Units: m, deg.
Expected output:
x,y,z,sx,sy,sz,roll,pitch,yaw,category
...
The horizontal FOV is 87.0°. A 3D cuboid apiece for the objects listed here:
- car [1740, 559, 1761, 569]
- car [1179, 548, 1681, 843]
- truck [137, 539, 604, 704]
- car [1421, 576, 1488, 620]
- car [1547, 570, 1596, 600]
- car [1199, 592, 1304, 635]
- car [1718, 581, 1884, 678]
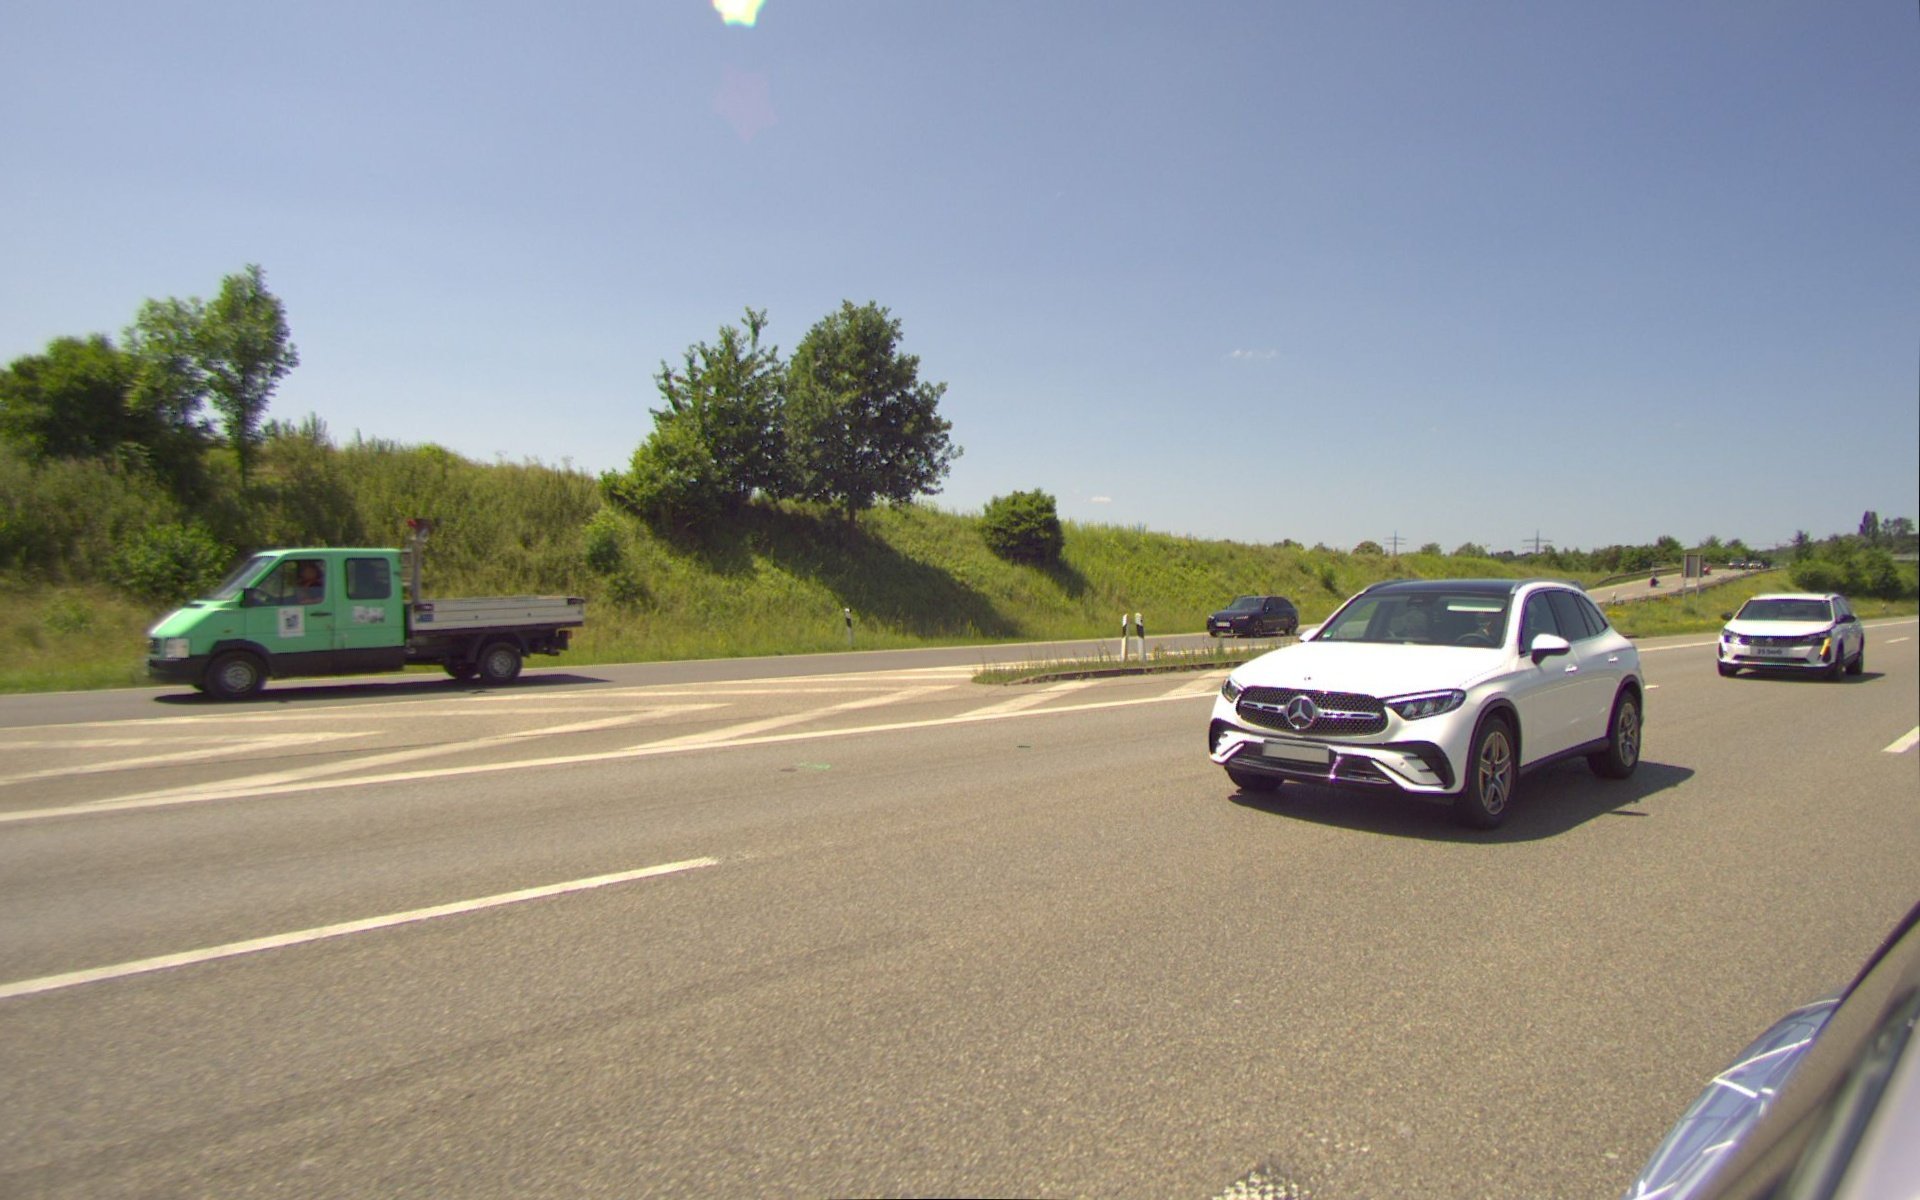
x,y,z,sx,sy,sz,roll,pitch,yaw,category
127.186,-5.761,162.735,4.540,1.650,1.979,-2,1,-43,car
3.902,0.513,7.988,4.556,1.676,1.907,-1,0,-41,car
-8.946,0.224,15.891,2.165,2.118,6.019,1,1,45,truck
26.207,-0.110,53.520,1.992,2.199,4.820,1,1,41,car
42.928,-1.060,71.024,3.935,2.039,1.994,-2,0,-45,car
10.499,0.441,36.345,1.992,1.400,4.232,1,1,42,car
16.741,0.495,20.072,4.538,1.650,1.896,-2,1,-42,car
